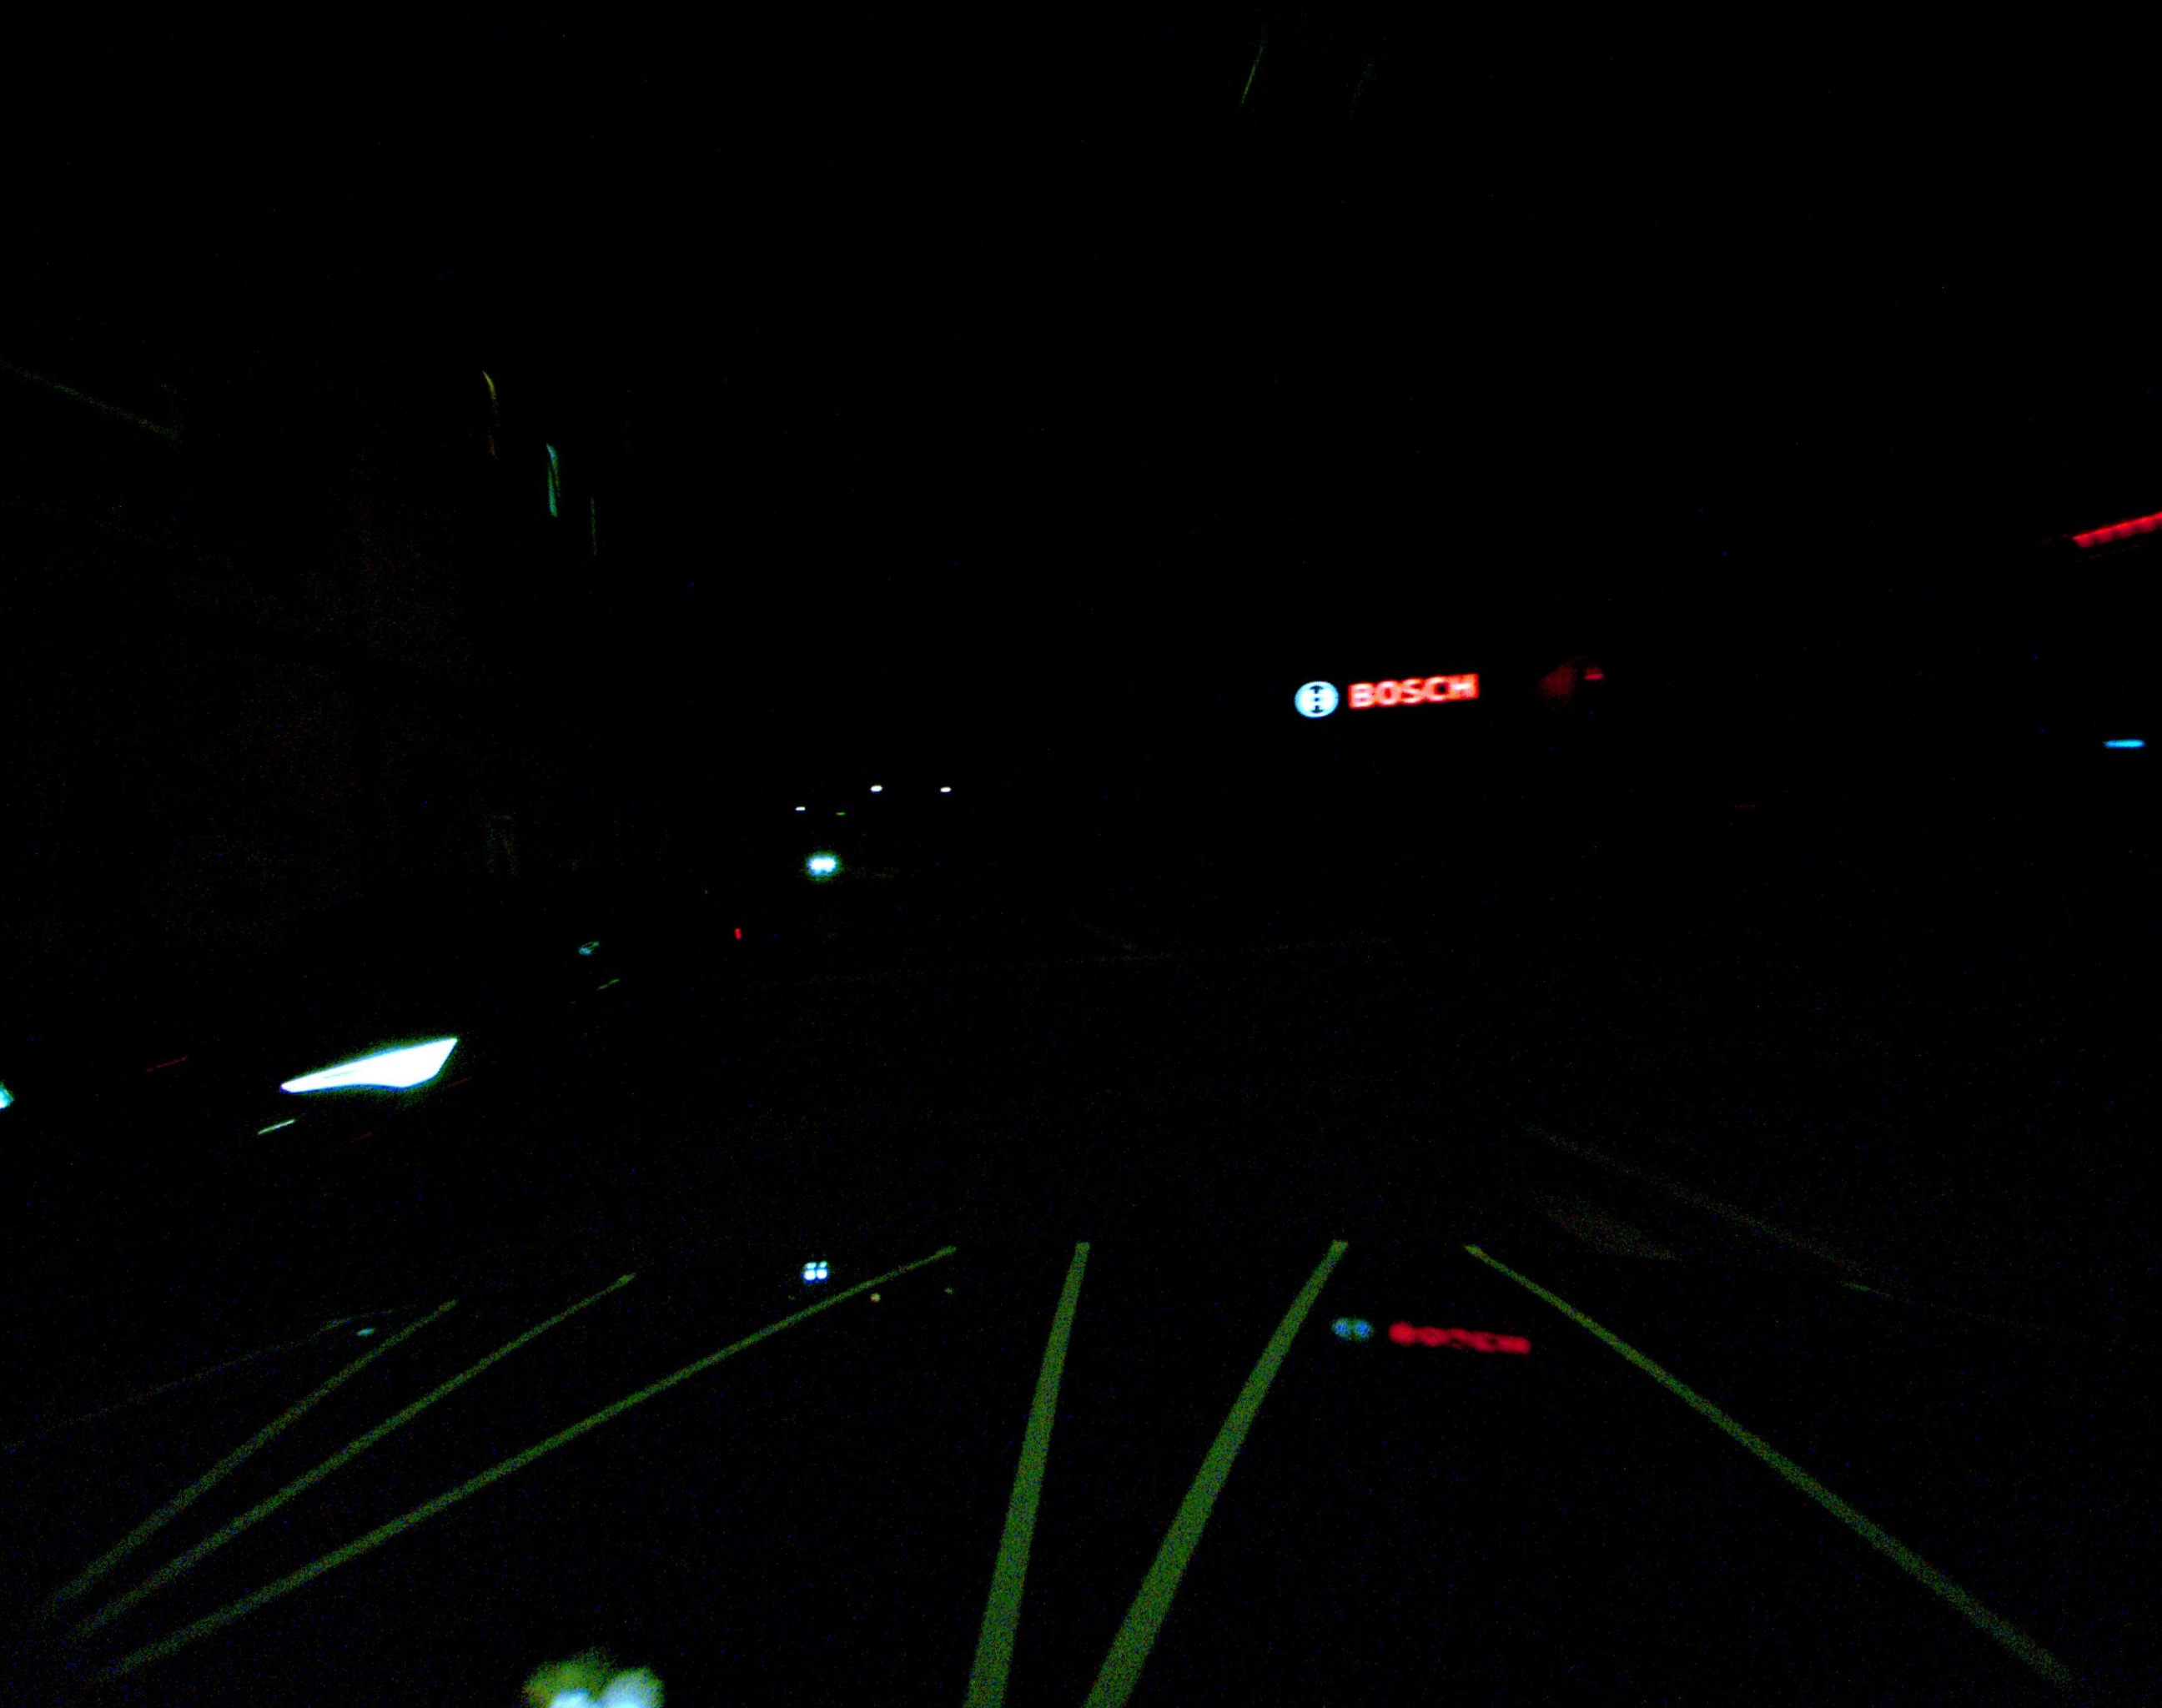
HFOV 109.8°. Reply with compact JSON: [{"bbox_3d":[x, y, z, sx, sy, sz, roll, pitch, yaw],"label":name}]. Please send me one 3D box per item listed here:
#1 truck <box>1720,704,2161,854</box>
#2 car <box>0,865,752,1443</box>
[{"bbox_3d":[26.096,-2.019,23.603,2.003,3.701,9.333,-5,2,-43],"label":"truck"},{"bbox_3d":[-3.584,0.960,4.262,1.999,1.607,3.997,-2,1,-6],"label":"car"}]
